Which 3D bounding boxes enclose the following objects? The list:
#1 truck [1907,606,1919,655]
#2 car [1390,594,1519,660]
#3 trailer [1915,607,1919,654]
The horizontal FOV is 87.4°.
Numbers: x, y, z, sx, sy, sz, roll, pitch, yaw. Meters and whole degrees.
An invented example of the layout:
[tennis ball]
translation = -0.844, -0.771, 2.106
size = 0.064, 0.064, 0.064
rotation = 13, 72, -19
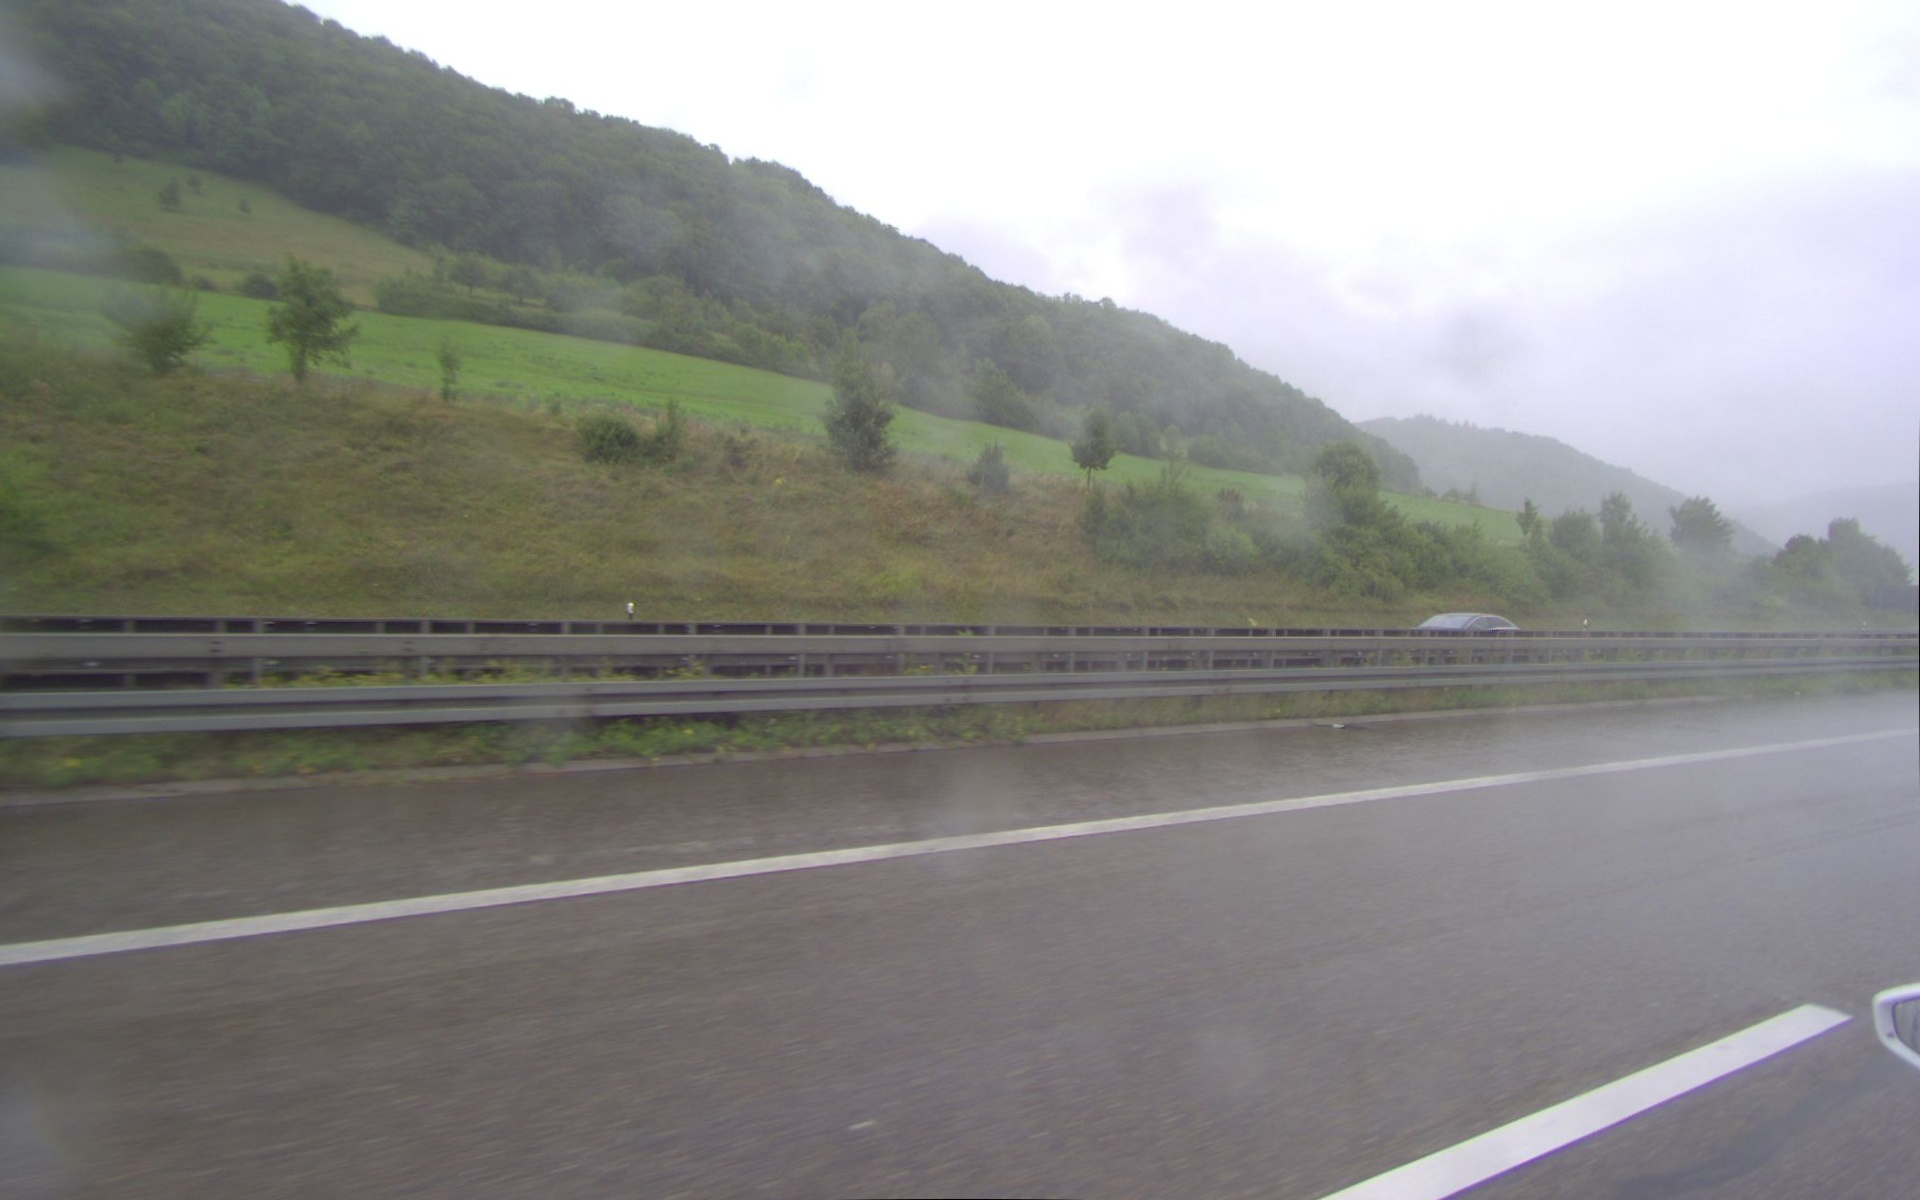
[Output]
[truck]
translation = 73.957, 2.328, 75.823
size = 5.261, 3.590, 2.696
rotation = 1, 0, -37
[car]
translation = 14.443, 0.761, 29.295
size = 3.641, 1.818, 1.670
rotation = 1, 0, -31
[trailer]
translation = 77.814, 2.424, 78.791
size = 9.309, 3.537, 2.700
rotation = 1, 0, -37
